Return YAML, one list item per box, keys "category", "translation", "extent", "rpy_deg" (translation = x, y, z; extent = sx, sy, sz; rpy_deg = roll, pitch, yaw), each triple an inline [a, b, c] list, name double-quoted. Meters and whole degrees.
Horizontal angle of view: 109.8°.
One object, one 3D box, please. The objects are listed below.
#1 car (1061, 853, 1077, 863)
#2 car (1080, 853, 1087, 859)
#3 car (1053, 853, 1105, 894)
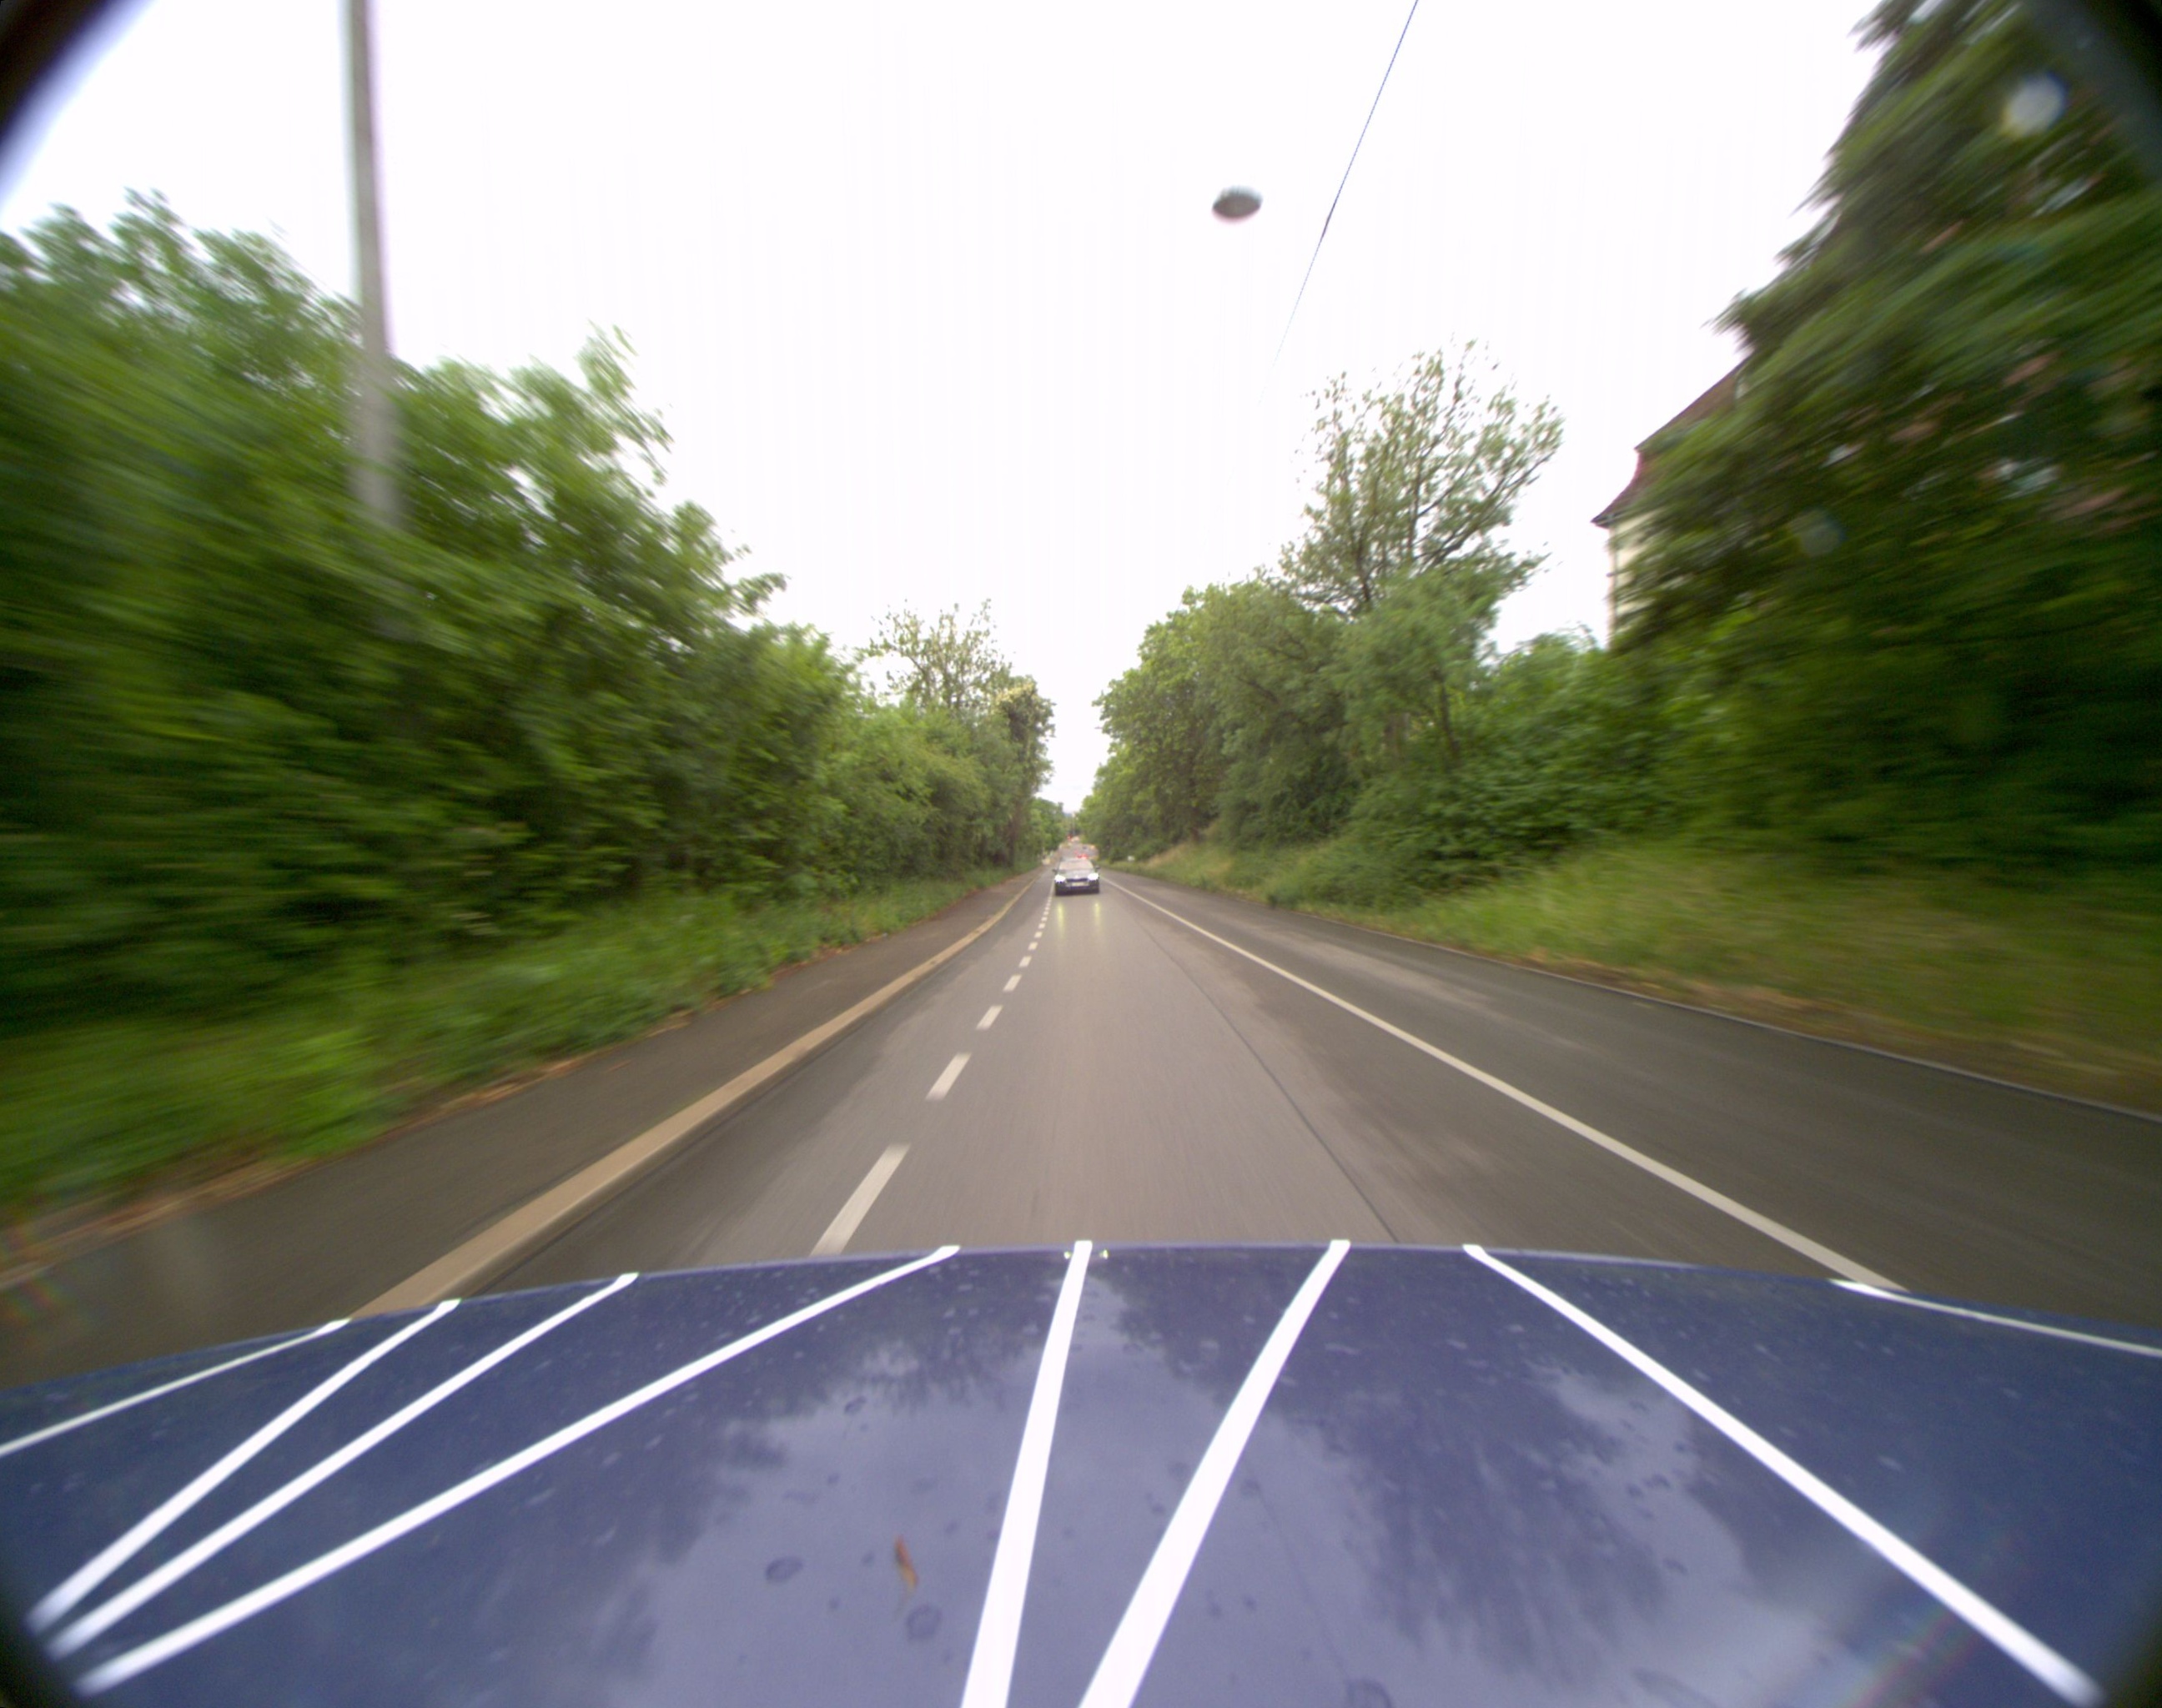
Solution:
- category: "car"
  translation: [-1.896, 0.644, 119.946]
  extent: [2.000, 1.434, 3.997]
  rpy_deg: [-4, 0, -7]
- category: "car"
  translation: [0.666, 0.595, 231.628]
  extent: [1.981, 1.497, 3.999]
  rpy_deg: [-4, 0, -2]
- category: "car"
  translation: [-0.137, 0.787, 32.487]
  extent: [1.981, 1.497, 3.999]
  rpy_deg: [-4, 0, -2]
